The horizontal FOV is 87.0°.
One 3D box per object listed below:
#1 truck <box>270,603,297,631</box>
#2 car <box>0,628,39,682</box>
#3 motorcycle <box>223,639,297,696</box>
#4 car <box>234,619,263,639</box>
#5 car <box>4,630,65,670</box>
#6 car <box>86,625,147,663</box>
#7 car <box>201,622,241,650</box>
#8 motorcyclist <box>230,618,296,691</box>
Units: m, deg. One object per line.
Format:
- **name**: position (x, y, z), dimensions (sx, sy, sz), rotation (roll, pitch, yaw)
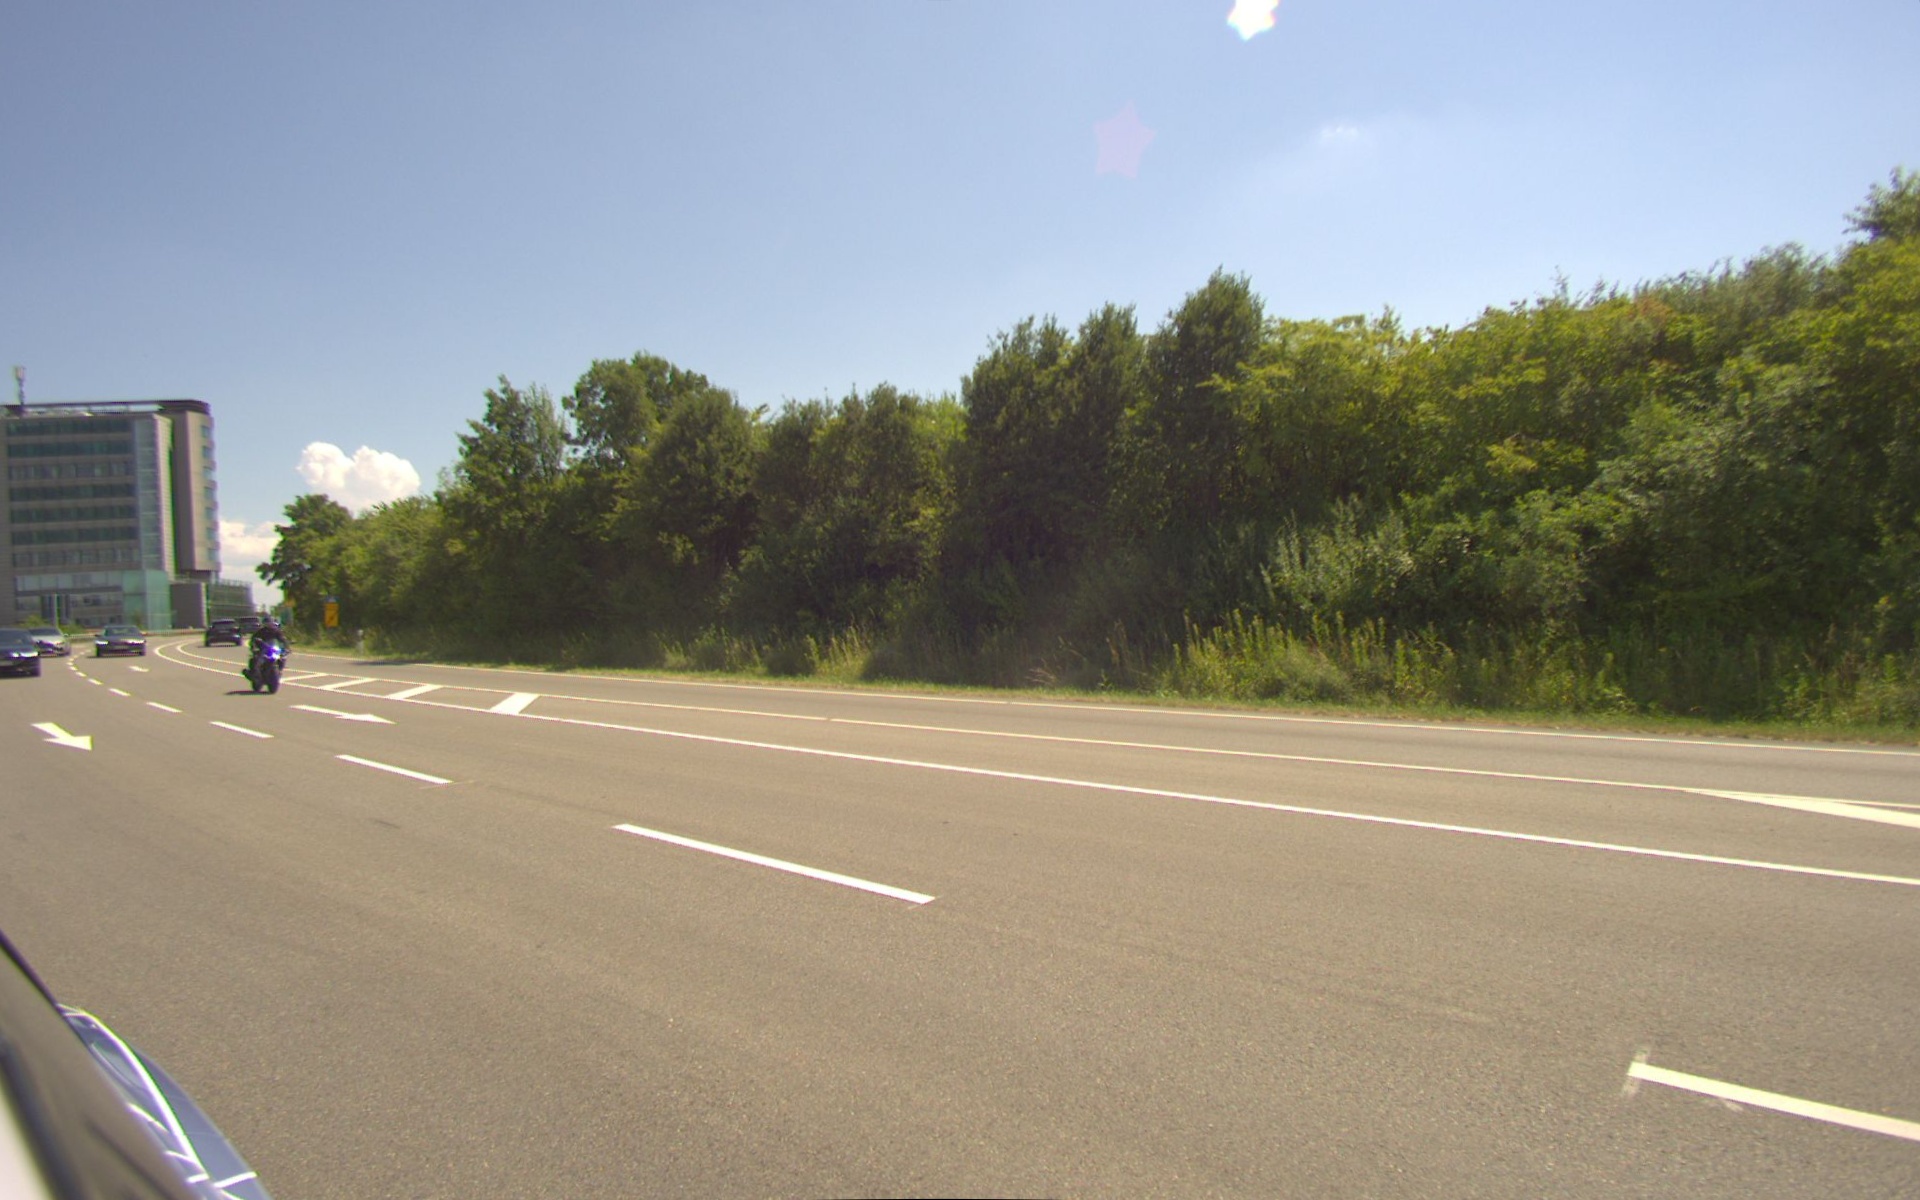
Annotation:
- **truck**: position (-88.770, 2.263, 132.686), dimensions (2.830, 3.601, 9.455), rotation (-1, -1, -34)
- **car**: position (-28.896, 1.664, 30.409), dimensions (1.754, 1.518, 4.566), rotation (-1, -1, -42)
- **motorcycle**: position (-14.971, 1.426, 21.625), dimensions (2.069, 1.147, 0.725), rotation (-2, -2, 38)
- **car**: position (-72.894, 2.967, 103.680), dimensions (1.966, 1.909, 5.119), rotation (-1, -1, -30)
- **car**: position (-44.583, 2.445, 48.808), dimensions (1.905, 1.598, 4.186), rotation (-5, -1, -40)
- **car**: position (-39.481, 2.031, 47.348), dimensions (2.086, 1.603, 4.457), rotation (-2, 0, -41)
- **car**: position (-45.787, 2.191, 62.685), dimensions (1.967, 1.605, 4.692), rotation (-1, -1, -37)
- **motorcyclist**: position (-14.818, 1.148, 21.523), dimensions (1.160, 1.500, 0.850), rotation (-2, -2, 38)
